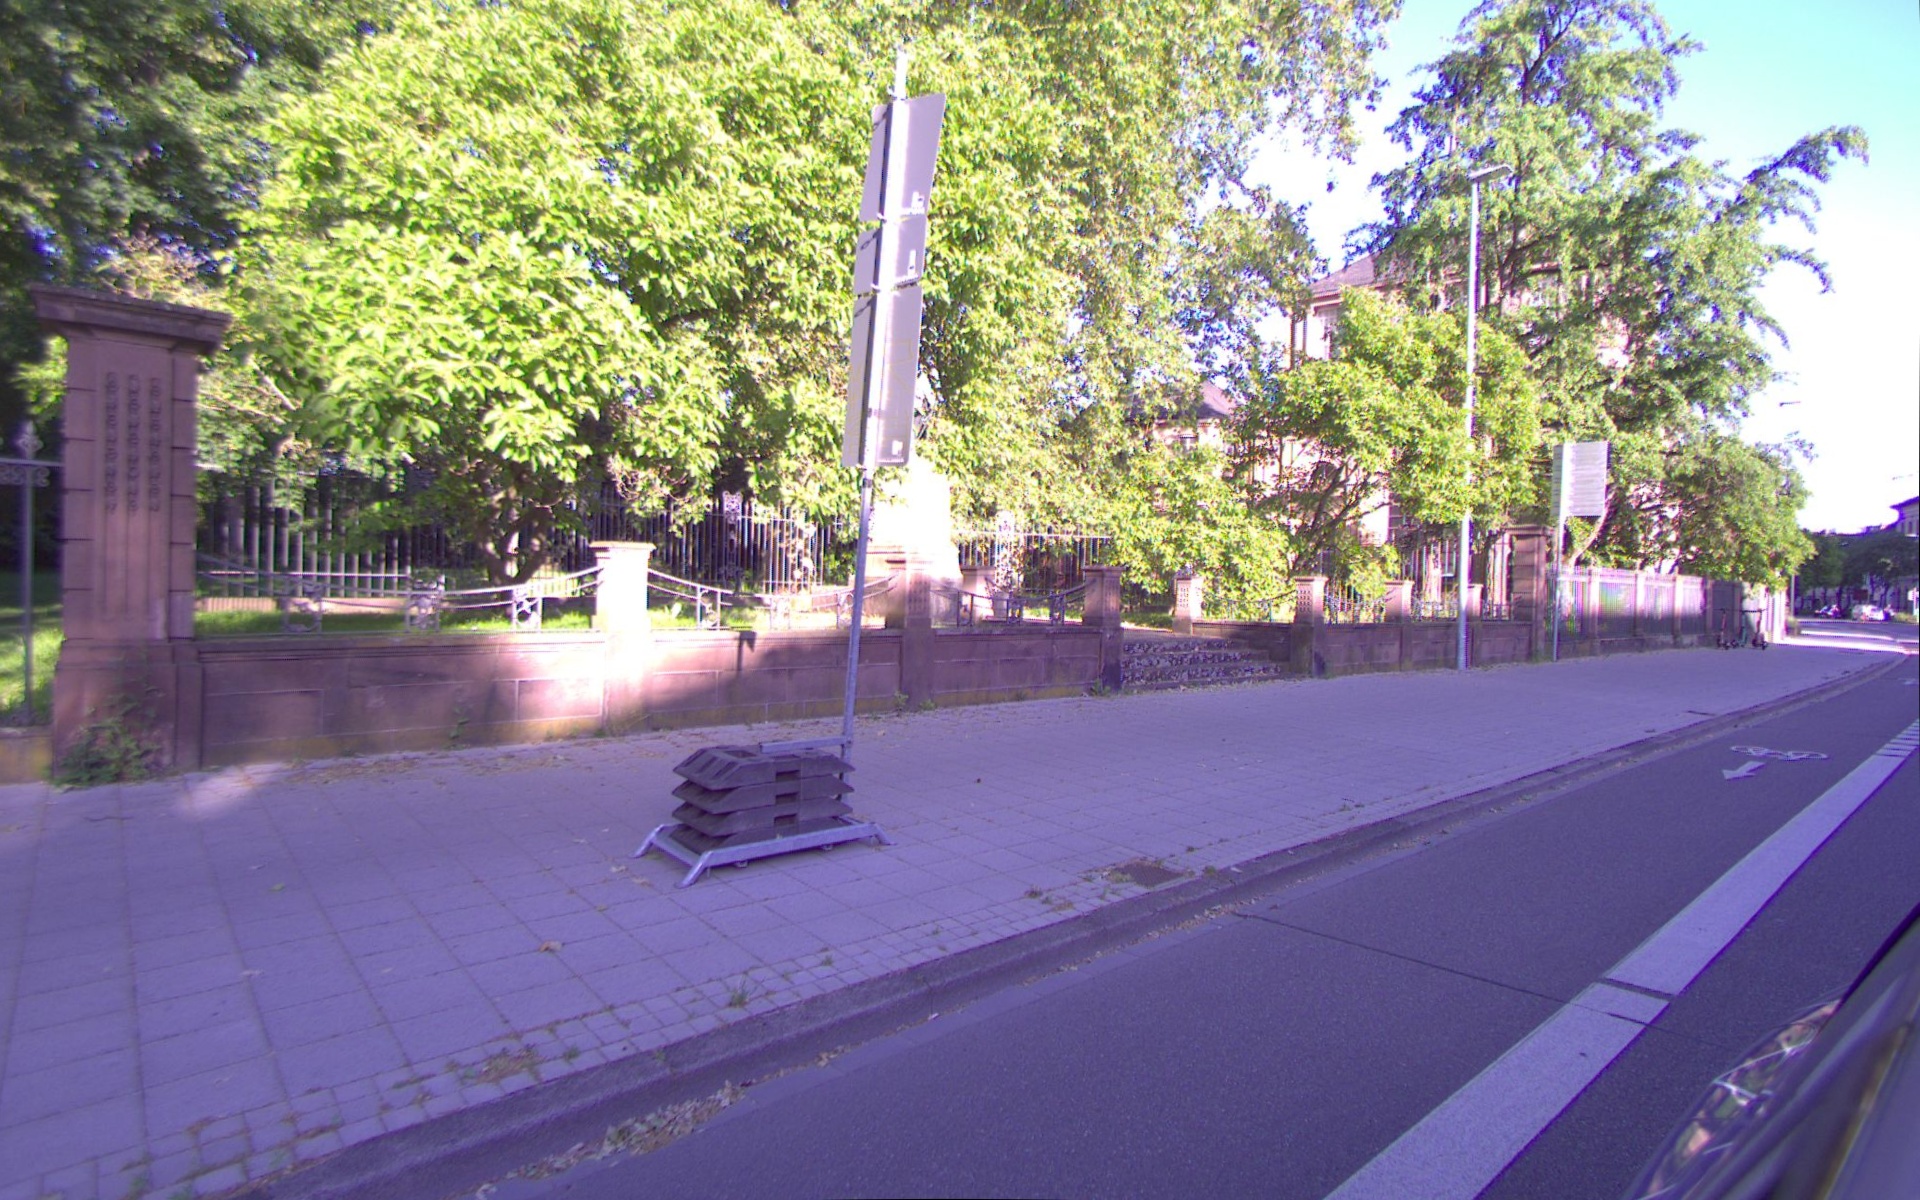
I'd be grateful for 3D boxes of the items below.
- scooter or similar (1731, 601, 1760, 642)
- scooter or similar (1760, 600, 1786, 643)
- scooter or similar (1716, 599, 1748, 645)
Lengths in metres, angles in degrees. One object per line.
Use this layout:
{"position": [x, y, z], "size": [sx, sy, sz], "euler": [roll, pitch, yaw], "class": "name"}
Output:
{"position": [23.613, 0.634, 30.429], "size": [0.574, 1.199, 1.465], "euler": [3, 2, 41], "class": "scooter or similar"}
{"position": [24.713, 0.645, 30.778], "size": [0.514, 1.255, 1.502], "euler": [2, 2, 37], "class": "scooter or similar"}
{"position": [22.266, 0.617, 29.205], "size": [0.572, 1.269, 1.470], "euler": [2, 2, 33], "class": "scooter or similar"}
